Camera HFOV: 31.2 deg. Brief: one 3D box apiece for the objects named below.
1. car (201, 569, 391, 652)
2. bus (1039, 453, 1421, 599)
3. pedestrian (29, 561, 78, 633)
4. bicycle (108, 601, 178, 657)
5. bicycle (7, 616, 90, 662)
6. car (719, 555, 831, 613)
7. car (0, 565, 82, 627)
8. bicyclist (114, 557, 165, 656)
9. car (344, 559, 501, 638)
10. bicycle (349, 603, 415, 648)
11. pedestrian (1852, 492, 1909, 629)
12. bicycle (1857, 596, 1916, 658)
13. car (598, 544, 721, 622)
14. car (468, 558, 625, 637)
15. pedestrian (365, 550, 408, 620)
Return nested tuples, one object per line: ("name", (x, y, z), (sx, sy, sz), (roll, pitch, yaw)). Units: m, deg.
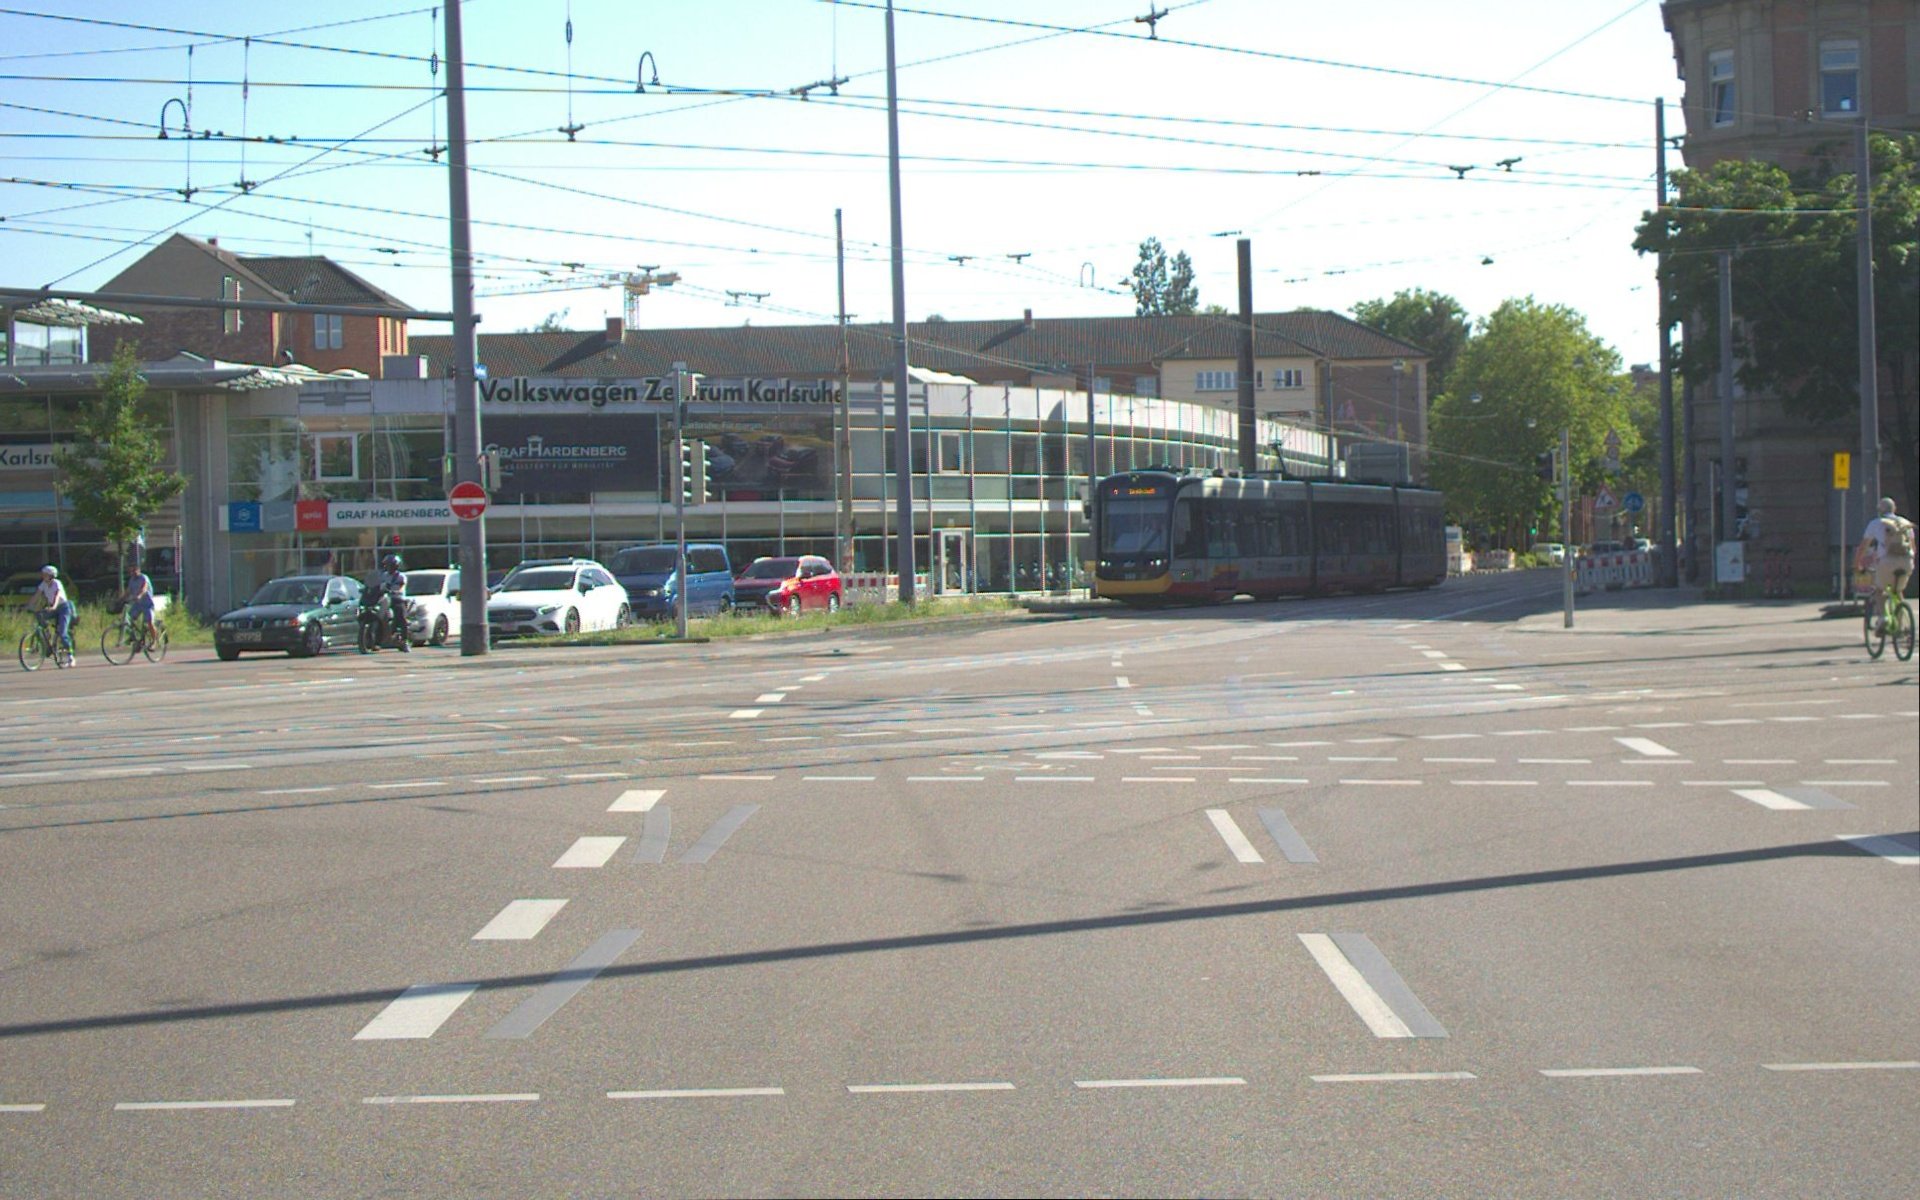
("car", (-11.495, 0.165, 59.739), (1.705, 1.349, 3.698), (-1, 1, 17))
("bus", (8.175, -1.856, 96.526), (3.841, 3.595, 24.839), (1, 0, 21))
("pedestrian", (-15.207, -0.052, 57.683), (0.423, 1.200, 0.679), (-1, 1, 30))
("bicycle", (-14.147, 0.495, 59.571), (0.468, 0.923, 1.474), (-1, 1, 17))
("bicycle", (-15.254, 0.651, 57.564), (0.423, 0.715, 1.473), (-1, 1, 29))
("car", (-4.545, -0.402, 84.966), (1.627, 1.359, 3.683), (-1, 1, 16))
("car", (-26.703, -0.136, 98.718), (1.966, 1.700, 4.083), (-1, 1, -1))
("bicyclist", (-14.184, 0.109, 59.439), (0.569, 1.708, 0.648), (-1, 1, 18))
("car", (-10.236, -0.055, 65.695), (1.627, 1.419, 3.683), (-1, 1, 14))
("bicycle", (-9.940, 0.435, 59.166), (0.423, 0.715, 1.633), (-1, 1, 16))
("pedestrian", (10.596, -0.456, 39.560), (0.549, 1.557, 0.857), (-1, 1, 20))
("bicycle", (10.648, 0.300, 39.491), (0.537, 0.653, 1.724), (-1, 1, 18))
("car", (-6.781, -0.406, 77.835), (1.627, 1.686, 3.683), (-1, 1, 14))
("car", (-7.634, -0.058, 63.817), (1.627, 1.377, 3.735), (-1, 1, 14))
("pedestrian", (-9.892, -0.261, 59.315), (0.423, 1.200, 0.749), (-1, 1, 17))
